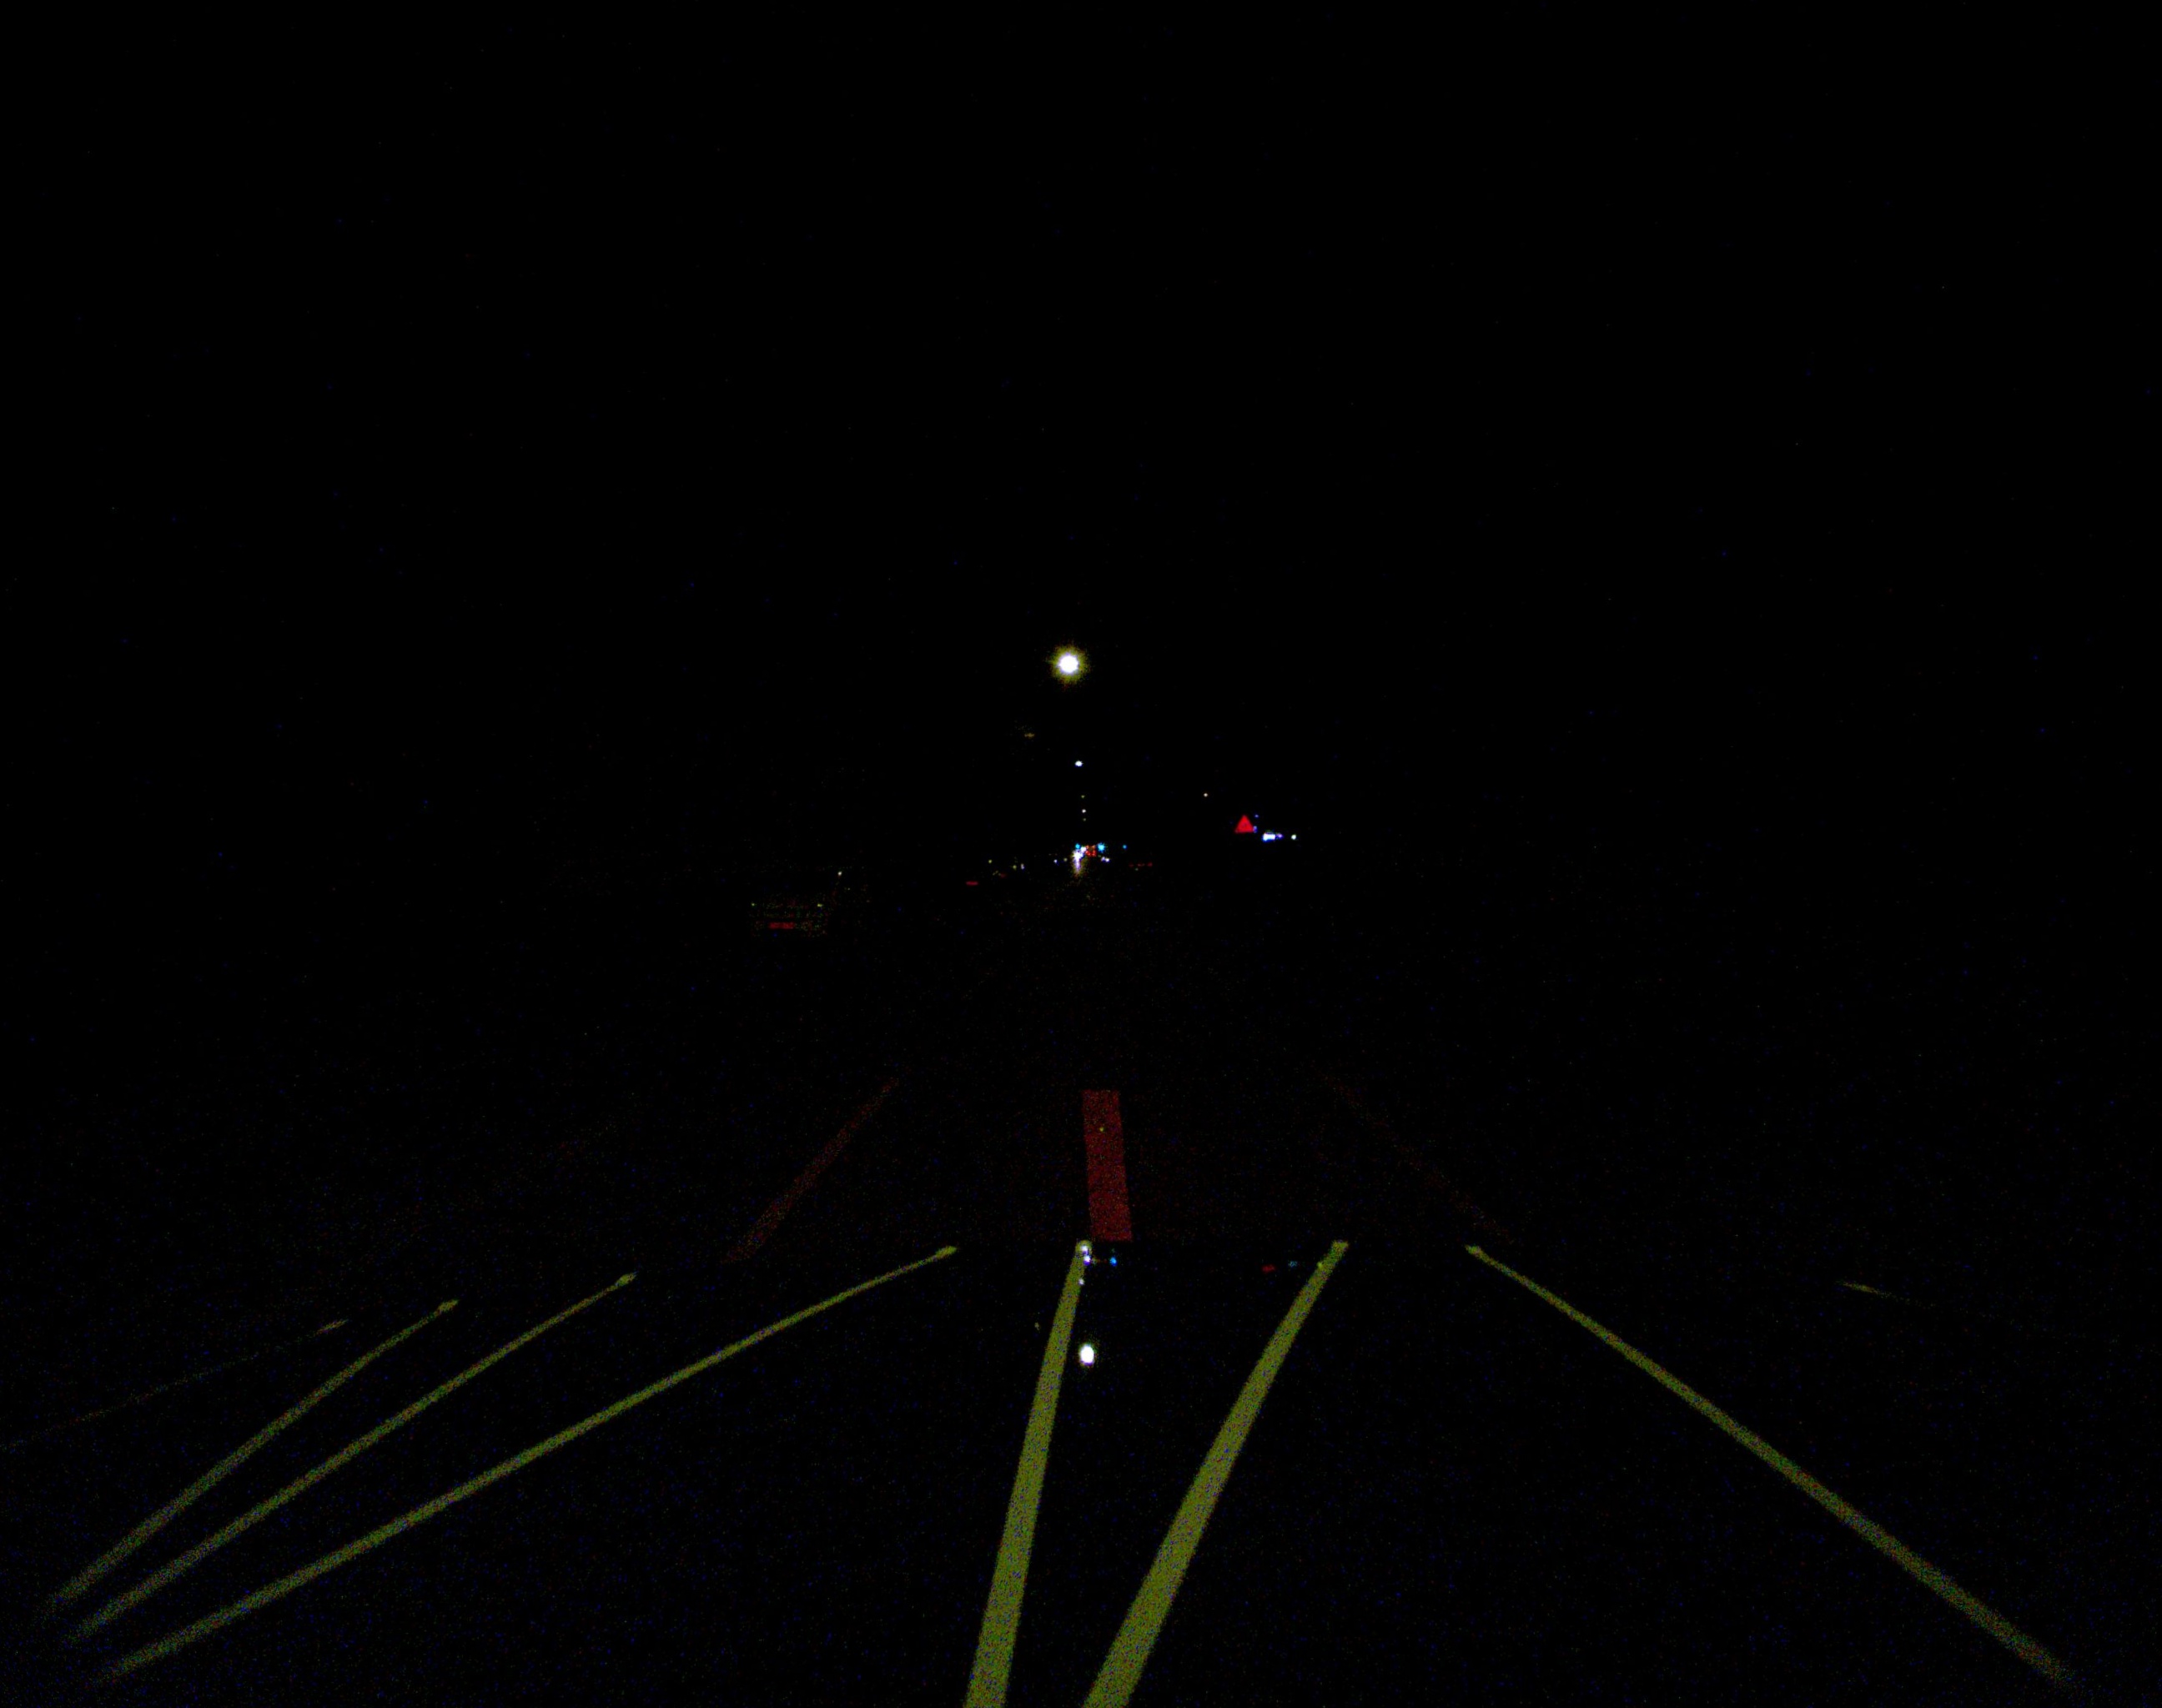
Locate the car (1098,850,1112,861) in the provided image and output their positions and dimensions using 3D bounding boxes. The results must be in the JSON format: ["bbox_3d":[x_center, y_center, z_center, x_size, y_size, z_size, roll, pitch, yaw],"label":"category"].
[{"bbox_3d":[3.712,0.222,119.480,1.874,1.635,3.999,-2,0,-3],"label":"car"}]

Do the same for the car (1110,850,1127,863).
[{"bbox_3d":[4.952,0.341,100.854,1.874,1.635,3.999,-2,0,-3],"label":"car"}]

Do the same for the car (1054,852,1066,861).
[{"bbox_3d":[-3.594,0.413,128.386,1.874,1.407,3.999,-2,0,0],"label":"car"}]

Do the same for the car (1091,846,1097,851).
[{"bbox_3d":[3.858,-1.623,225.611,1.873,1.635,4.000,-2,0,1],"label":"car"}]

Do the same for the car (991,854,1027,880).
[{"bbox_3d":[-4.461,0.776,47.793,1.742,1.588,4.359,0,0,1],"label":"car"}]

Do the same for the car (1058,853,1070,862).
[{"bbox_3d":[-3.000,0.587,134.784,1.874,1.407,3.999,-2,0,0],"label":"car"}]

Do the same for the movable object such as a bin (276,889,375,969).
[{"bbox_3d":[-10.775,1.059,10.859,0.609,1.042,0.755,-2,1,1],"label":"movable object such as a bin"}]

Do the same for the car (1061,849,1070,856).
[{"bbox_3d":[-3.341,-0.367,163.762,1.874,1.407,3.999,-2,0,0],"label":"car"}]

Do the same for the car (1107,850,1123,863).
[{"bbox_3d":[4.709,0.369,105.110,1.874,1.635,3.999,-2,0,-3],"label":"car"}]

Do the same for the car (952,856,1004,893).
[{"bbox_3d":[-4.576,0.874,34.272,1.865,1.544,4.044,0,0,-1],"label":"car"}]

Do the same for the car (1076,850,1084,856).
[{"bbox_3d":[-0.274,-0.245,203.897,1.874,1.635,3.999,-2,0,0],"label":"car"}]

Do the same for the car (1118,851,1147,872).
[{"bbox_3d":[3.882,0.566,57.829,1.864,1.458,3.896,-4,0,-1],"label":"car"}]

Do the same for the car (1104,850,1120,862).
[{"bbox_3d":[4.426,0.311,110.048,1.874,1.635,3.999,-2,0,-3],"label":"car"}]

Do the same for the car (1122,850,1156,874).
[{"bbox_3d":[3.960,0.522,52.314,1.864,1.524,4.587,-4,0,-1],"label":"car"}]

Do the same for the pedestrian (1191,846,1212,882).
[{"bbox_3d":[5.672,0.457,35.803,0.744,1.662,1.103,-2,1,0],"label":"pedestrian"}]

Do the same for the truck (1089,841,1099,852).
[{"bbox_3d":[4.295,-2.419,249.385,3.222,3.360,8.850,-2,0,1],"label":"truck"}]

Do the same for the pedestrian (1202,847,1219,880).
[{"bbox_3d":[6.814,0.480,39.879,0.670,1.716,0.866,-2,1,-2],"label":"pedestrian"}]

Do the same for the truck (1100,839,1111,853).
[{"bbox_3d":[4.947,-1.603,155.493,2.084,2.562,6.873,-2,0,1],"label":"truck"}]

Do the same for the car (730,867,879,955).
[{"bbox_3d":[-5.341,1.031,15.185,1.672,1.476,3.603,0,0,0],"label":"car"}]

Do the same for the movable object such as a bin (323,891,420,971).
[{"bbox_3d":[-10.121,1.085,10.864,0.609,1.042,0.755,-2,1,1],"label":"movable object such as a bin"}]

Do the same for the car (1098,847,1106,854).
[{"bbox_3d":[4.978,-0.735,180.298,1.873,1.551,4.353,-2,0,1],"label":"car"}]
